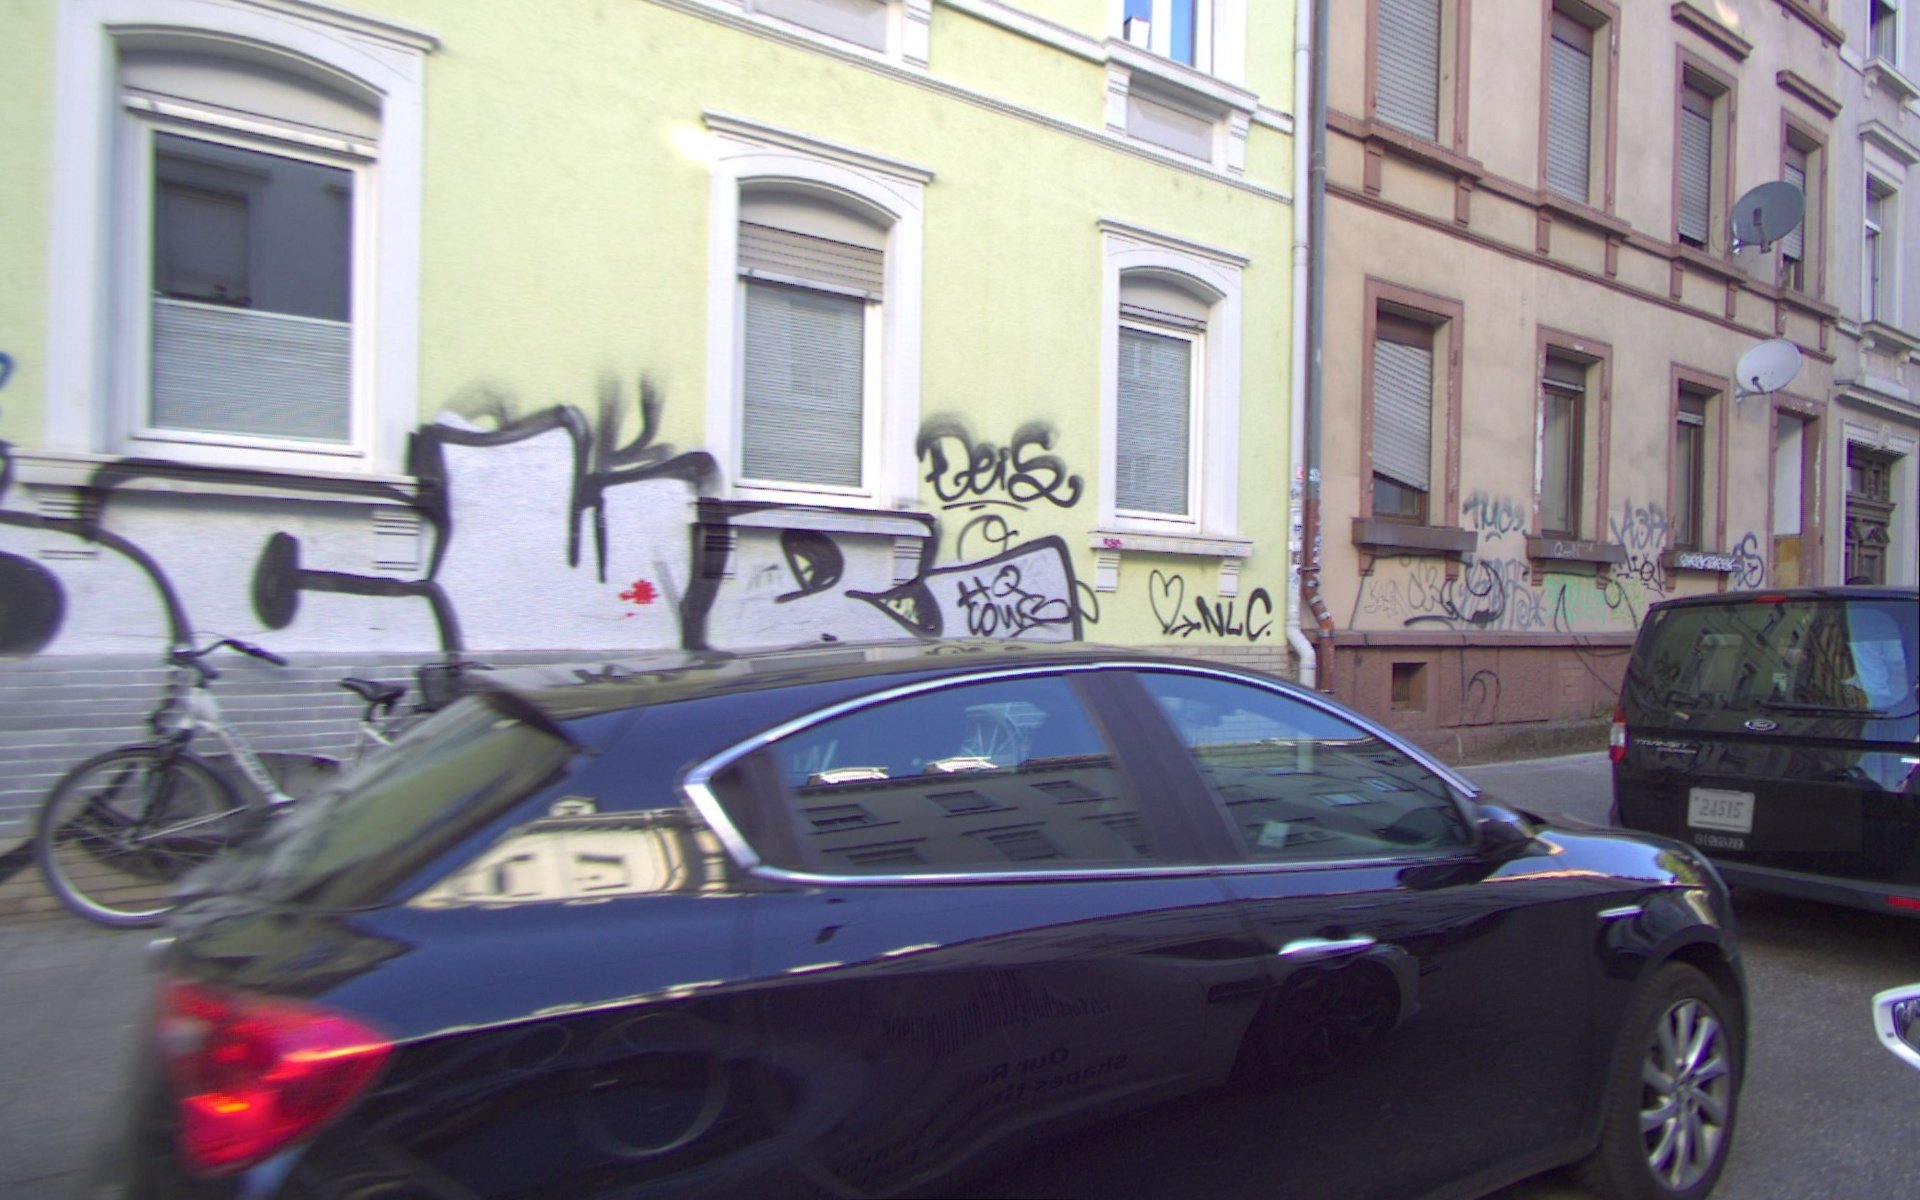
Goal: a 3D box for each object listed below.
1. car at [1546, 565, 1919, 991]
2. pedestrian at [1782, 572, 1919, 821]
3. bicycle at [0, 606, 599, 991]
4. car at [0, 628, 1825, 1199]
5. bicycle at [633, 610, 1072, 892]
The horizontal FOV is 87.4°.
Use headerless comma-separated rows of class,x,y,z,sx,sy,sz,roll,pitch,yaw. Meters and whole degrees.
car,5.286,0.785,5.597,3.954,1.720,1.792,1,-3,-31
pedestrian,7.091,0.719,7.920,0.745,1.842,0.648,1,2,-29
bicycle,-2.630,0.687,4.126,2.062,1.288,0.670,1,0,-31
car,0.383,0.816,2.667,3.953,1.446,1.728,1,-1,-30
bicycle,-0.527,0.719,5.498,2.300,1.262,0.664,1,3,-31
